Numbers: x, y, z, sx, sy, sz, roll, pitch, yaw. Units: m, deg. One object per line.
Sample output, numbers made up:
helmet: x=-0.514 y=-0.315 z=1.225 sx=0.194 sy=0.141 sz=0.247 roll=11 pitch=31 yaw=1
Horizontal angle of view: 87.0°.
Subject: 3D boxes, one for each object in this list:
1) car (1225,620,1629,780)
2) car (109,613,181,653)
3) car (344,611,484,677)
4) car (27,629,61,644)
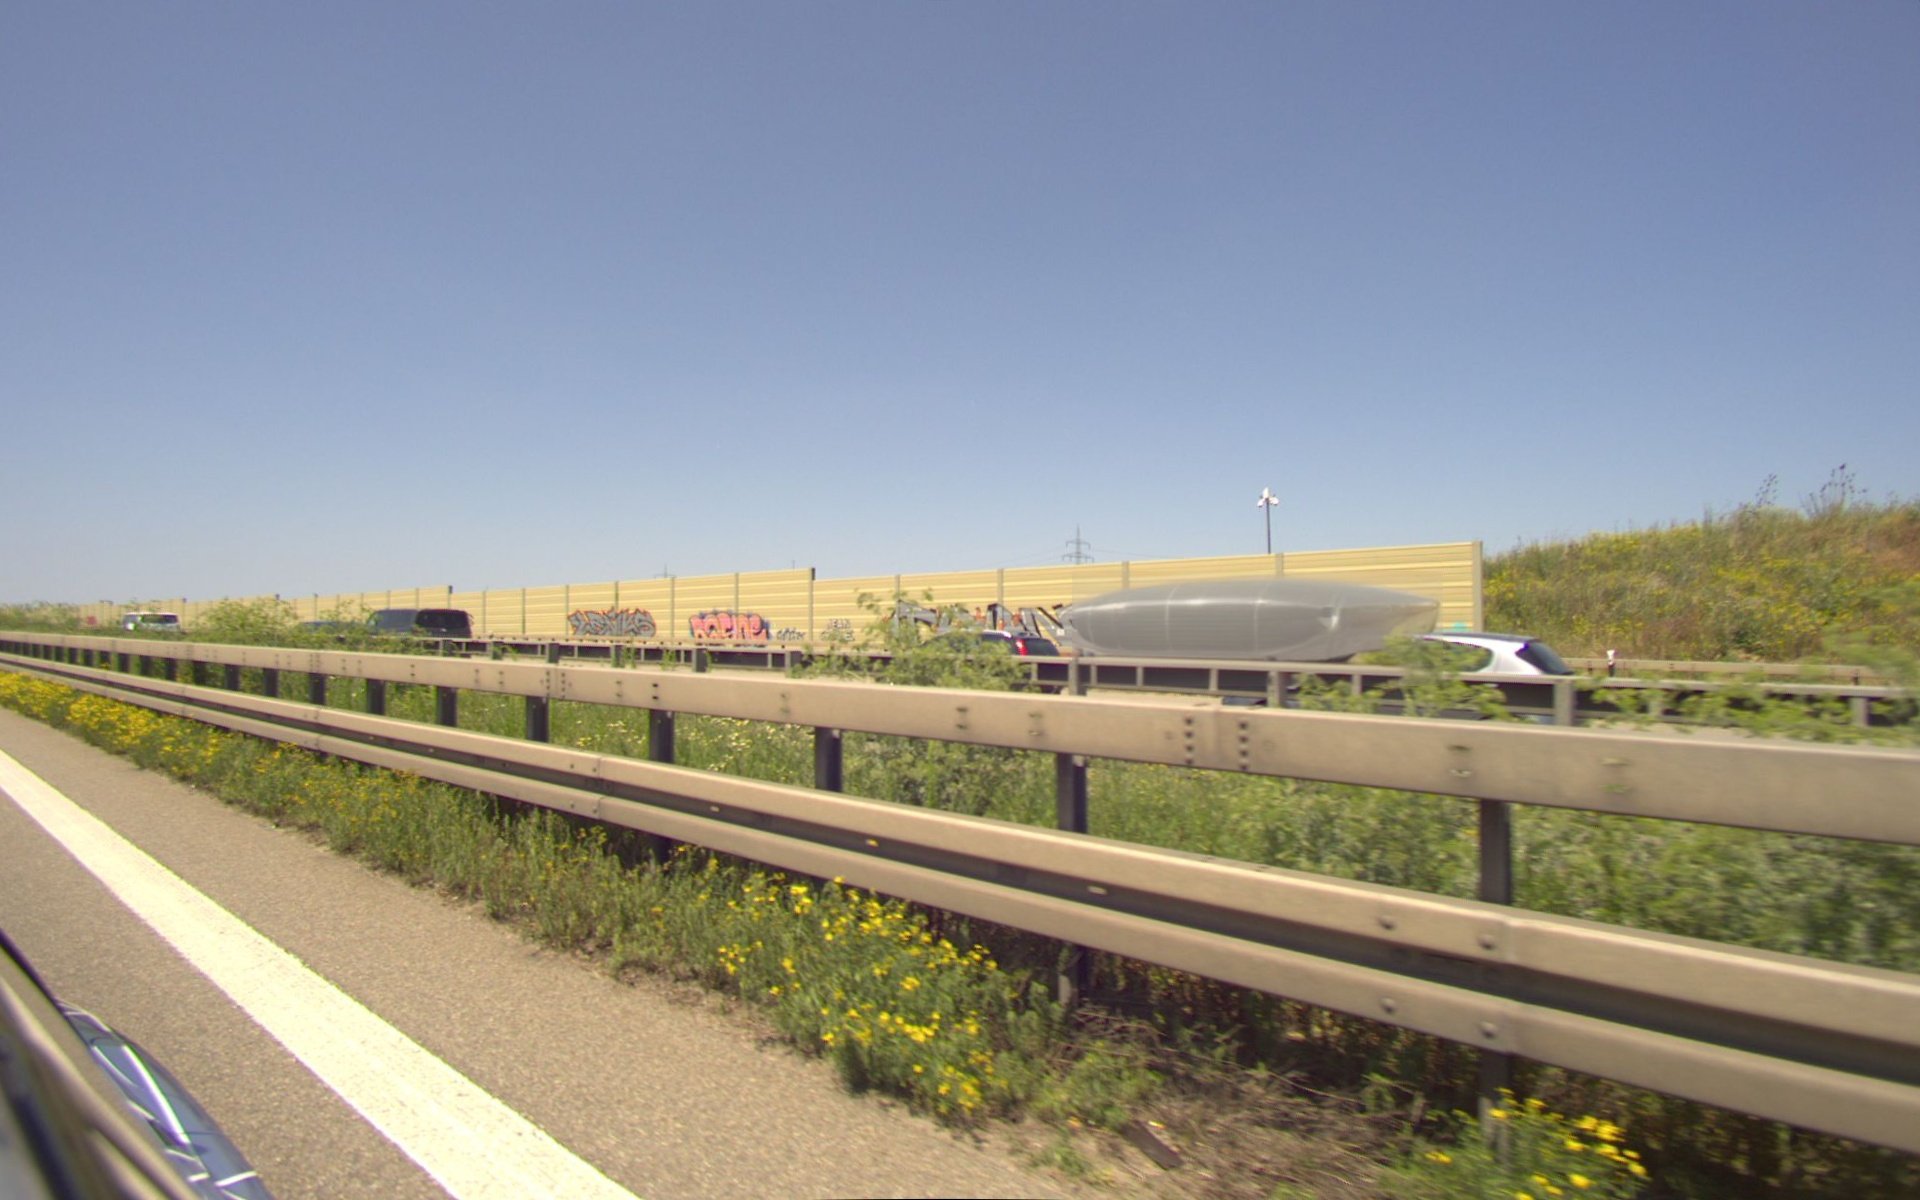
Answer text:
car: x=5.198 y=1.027 z=11.543 sx=3.882 sy=1.522 sz=1.655 roll=-1 pitch=-4 yaw=41
car: x=-44.151 y=1.747 z=54.782 sx=5.910 sy=1.976 sz=1.973 roll=-1 pitch=0 yaw=41
car: x=-17.732 y=1.404 z=32.727 sx=5.852 sy=1.955 sz=1.973 roll=-1 pitch=-4 yaw=41
car: x=-91.307 y=3.631 z=100.853 sx=3.997 sy=1.431 sz=1.973 roll=-1 pitch=-1 yaw=40
